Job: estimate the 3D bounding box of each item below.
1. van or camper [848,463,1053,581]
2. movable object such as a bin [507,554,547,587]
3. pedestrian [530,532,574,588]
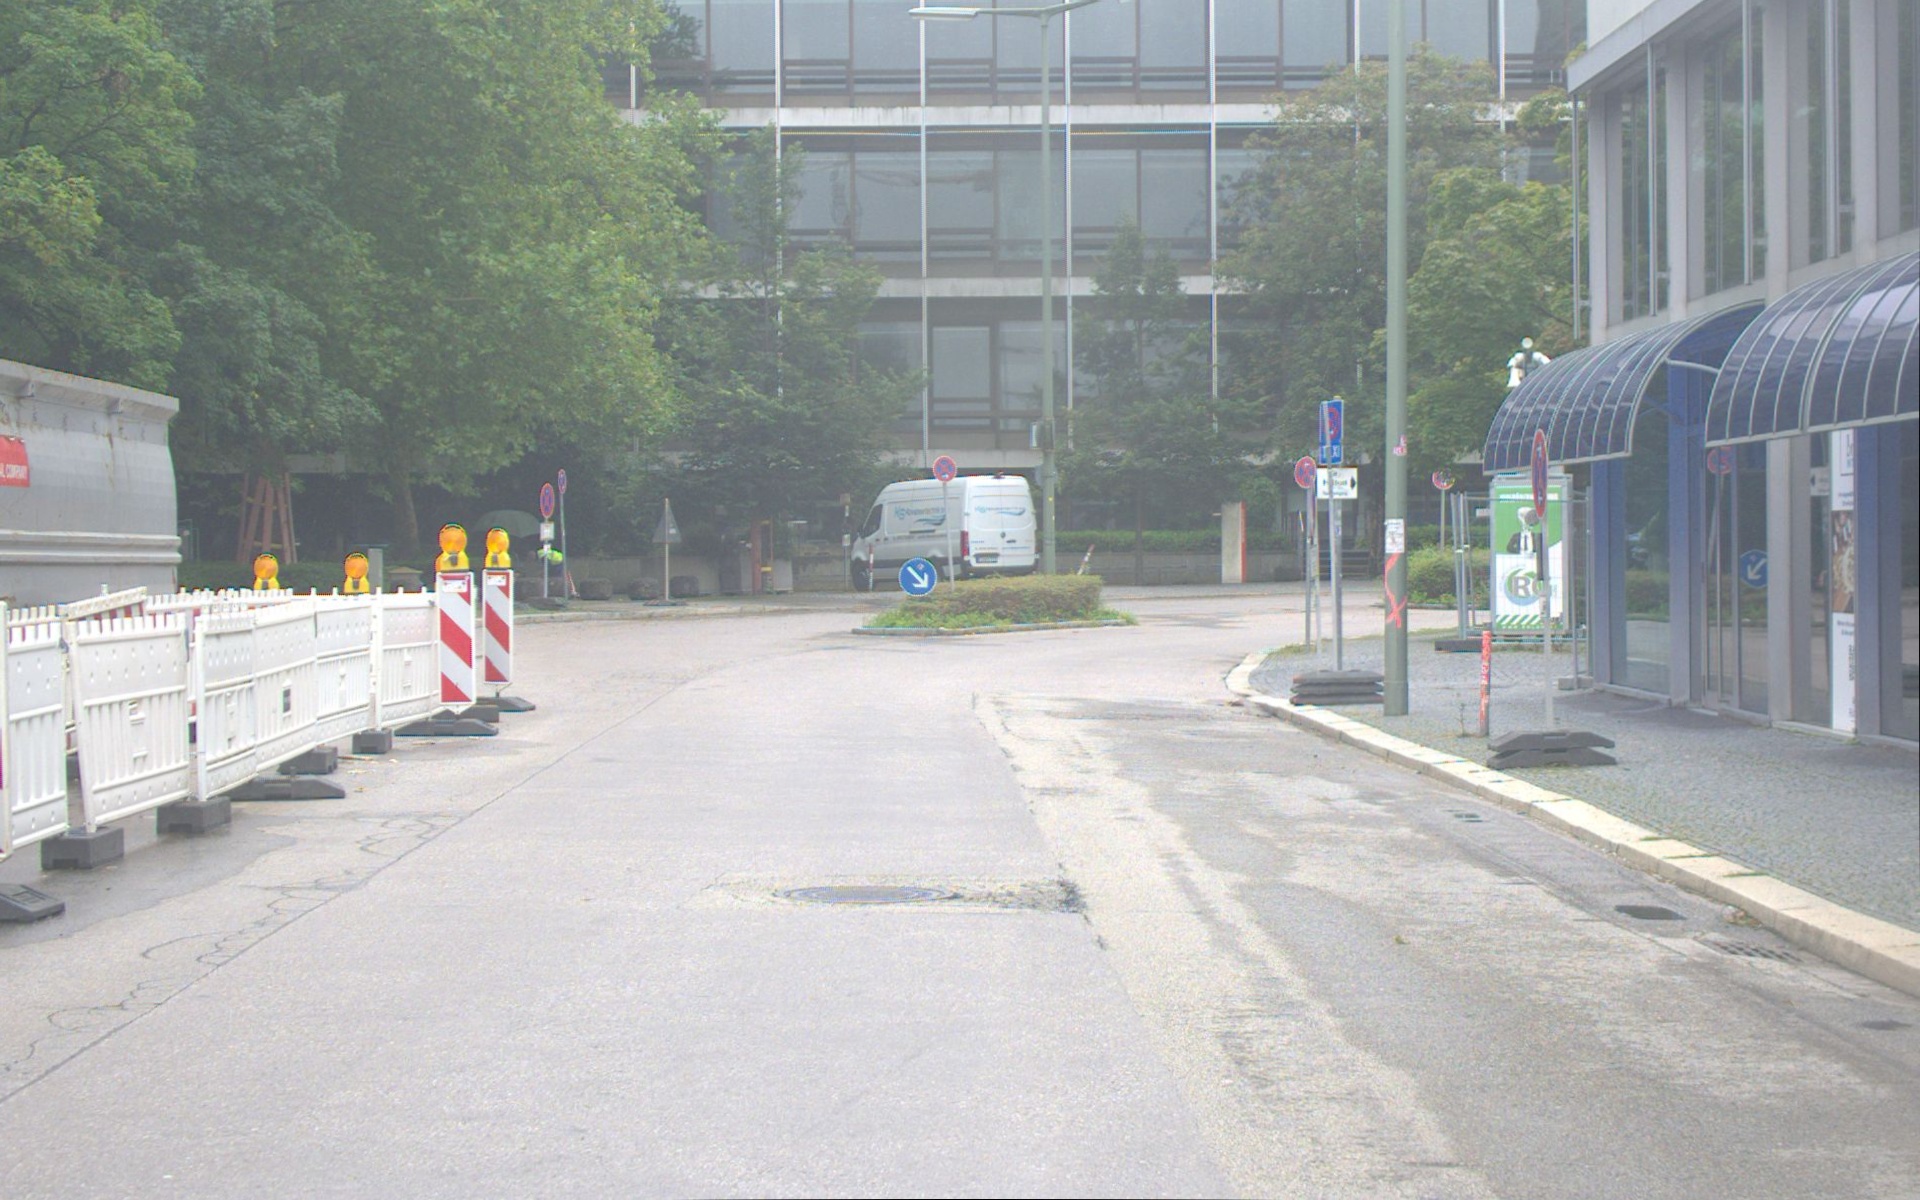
[{"bbox_3d":[-0.298,-1.789,81.047,2.155,2.572,6.540,-1,0,-26],"label":"van or camper"},{"bbox_3d":[-9.929,-0.674,78.854,0.834,0.751,0.572,0,1,2],"label":"movable object such as a bin"},{"bbox_3d":[-9.363,-0.926,78.887,0.926,1.273,0.542,0,1,2],"label":"pedestrian"}]
